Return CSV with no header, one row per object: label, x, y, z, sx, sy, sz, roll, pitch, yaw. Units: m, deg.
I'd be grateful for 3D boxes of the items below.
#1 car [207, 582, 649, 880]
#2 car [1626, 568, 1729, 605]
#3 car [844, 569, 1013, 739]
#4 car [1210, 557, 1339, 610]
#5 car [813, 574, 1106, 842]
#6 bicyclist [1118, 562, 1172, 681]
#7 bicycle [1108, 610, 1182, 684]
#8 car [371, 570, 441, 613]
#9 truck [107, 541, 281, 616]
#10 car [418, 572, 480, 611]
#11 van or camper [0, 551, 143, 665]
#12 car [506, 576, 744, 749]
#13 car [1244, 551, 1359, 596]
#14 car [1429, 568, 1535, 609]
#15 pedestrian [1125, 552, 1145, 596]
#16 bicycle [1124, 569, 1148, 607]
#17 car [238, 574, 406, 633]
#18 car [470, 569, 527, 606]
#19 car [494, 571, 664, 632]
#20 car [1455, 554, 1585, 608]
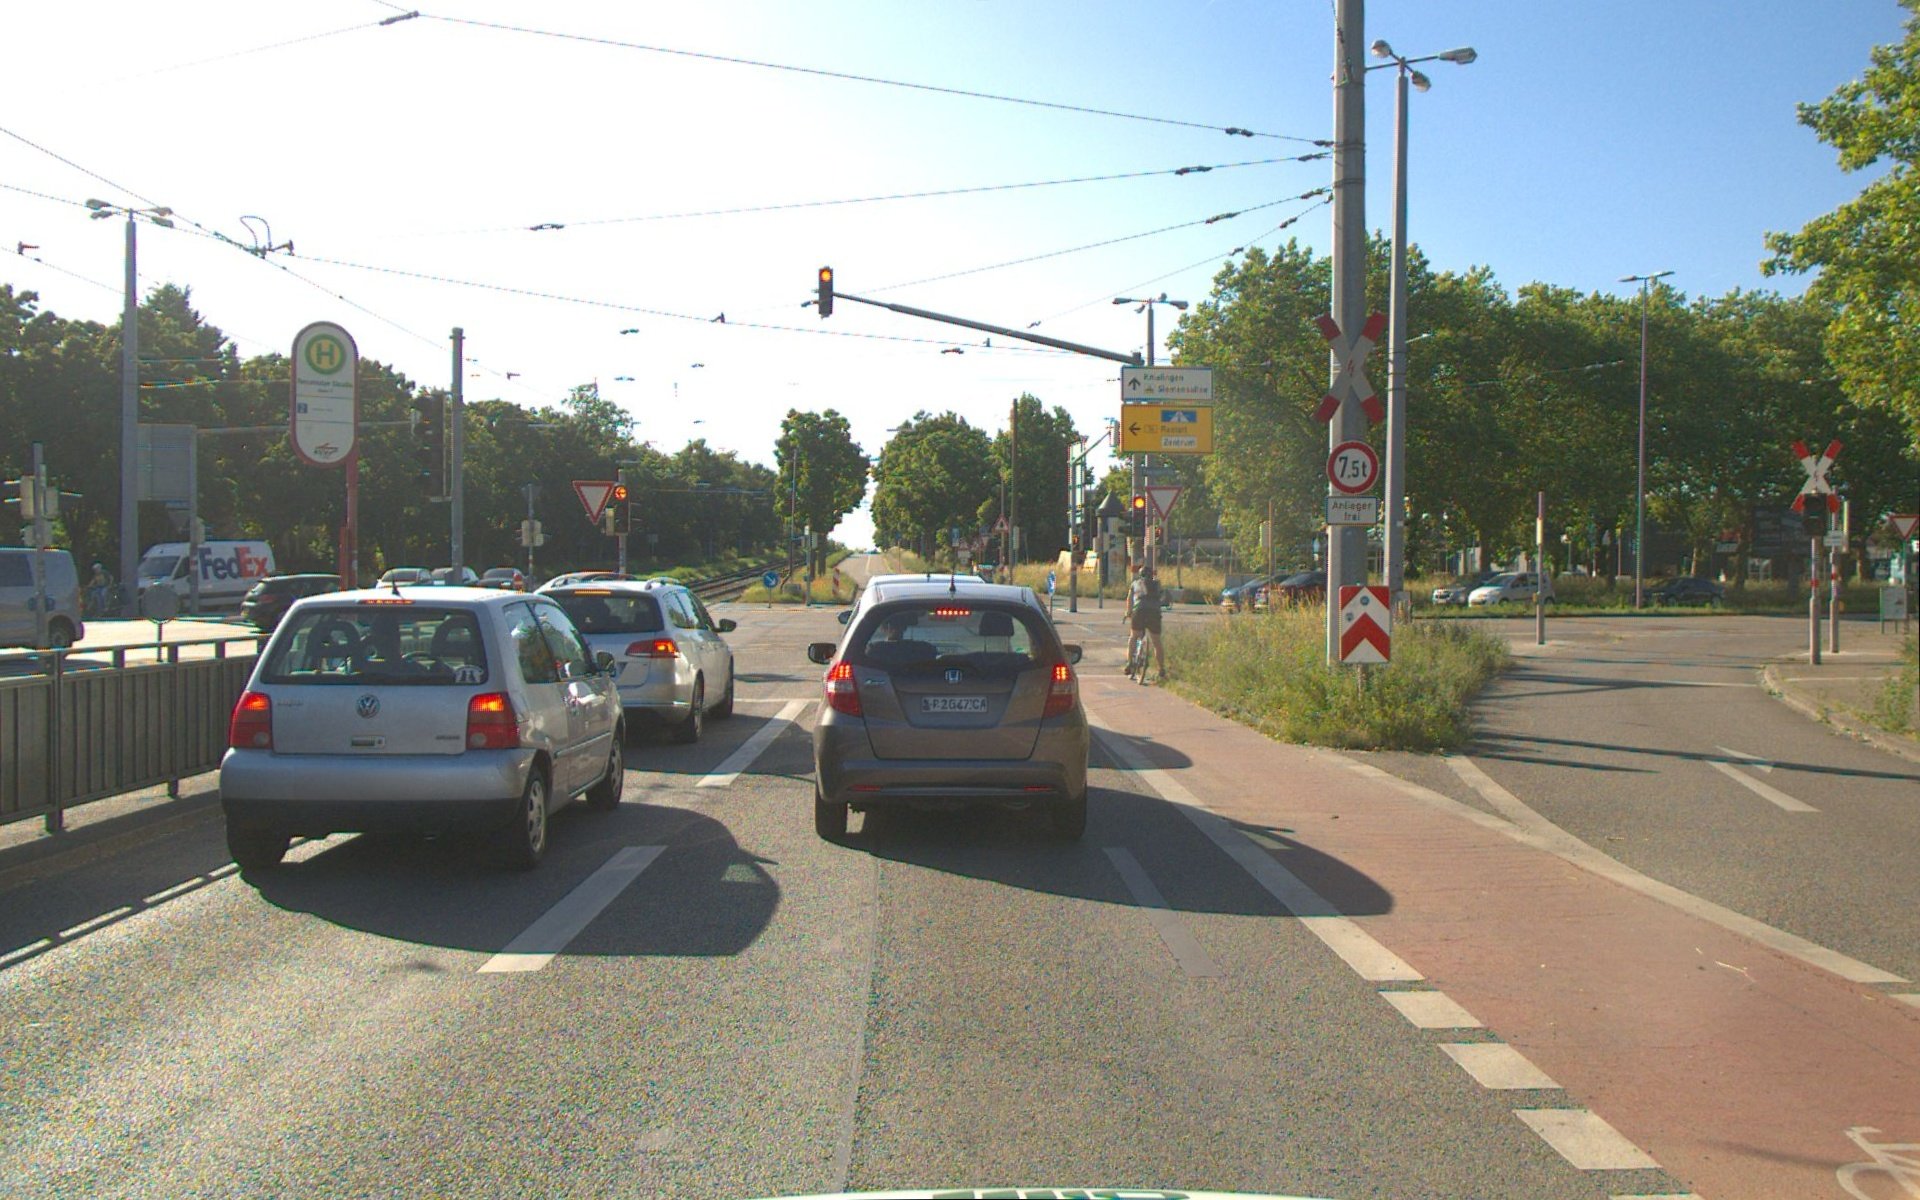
car,-2.926,0.635,9.801,1.586,1.442,3.350,0,0,-1
car,31.965,-0.623,73.696,4.449,1.601,1.681,-1,1,-24
car,-0.343,0.485,17.672,1.578,1.589,4.287,0,1,-1
car,12.183,-0.636,64.050,4.625,1.912,1.985,1,0,-24
car,-0.089,0.583,11.039,1.635,1.487,3.584,0,1,-3
bicyclist,2.774,0.313,24.880,0.652,1.746,0.948,1,0,-2
bicycle,2.763,0.684,24.962,0.707,1.006,2.875,1,0,-1
car,-21.207,-0.339,63.489,1.797,1.575,3.994,0,1,-7
truck,-28.169,-0.809,61.165,1.951,2.610,6.828,0,1,14
car,-21.361,-0.389,69.278,1.797,1.575,4.278,0,1,-7
van or camper,-16.547,0.135,27.303,1.951,1.860,5.991,0,1,16
car,-3.178,0.538,16.427,1.586,1.482,4.084,1,0,-1
car,12.390,-0.967,59.967,3.934,1.557,1.594,-1,1,-24
car,21.681,-0.475,68.688,3.931,1.606,1.868,1,0,-22
pedestrian,7.583,-1.122,71.602,0.772,1.868,0.855,0,0,1
bicycle,7.600,-0.523,71.576,0.801,1.601,3.216,0,1,2
car,-15.849,0.070,41.163,3.644,1.402,1.504,-1,1,-42
car,-21.587,-0.620,77.527,1.956,1.632,4.747,1,1,-8
car,-9.340,0.006,40.781,1.578,1.427,3.998,0,1,38
car,21.985,-0.762,64.946,4.823,2.049,1.985,-1,1,-24
